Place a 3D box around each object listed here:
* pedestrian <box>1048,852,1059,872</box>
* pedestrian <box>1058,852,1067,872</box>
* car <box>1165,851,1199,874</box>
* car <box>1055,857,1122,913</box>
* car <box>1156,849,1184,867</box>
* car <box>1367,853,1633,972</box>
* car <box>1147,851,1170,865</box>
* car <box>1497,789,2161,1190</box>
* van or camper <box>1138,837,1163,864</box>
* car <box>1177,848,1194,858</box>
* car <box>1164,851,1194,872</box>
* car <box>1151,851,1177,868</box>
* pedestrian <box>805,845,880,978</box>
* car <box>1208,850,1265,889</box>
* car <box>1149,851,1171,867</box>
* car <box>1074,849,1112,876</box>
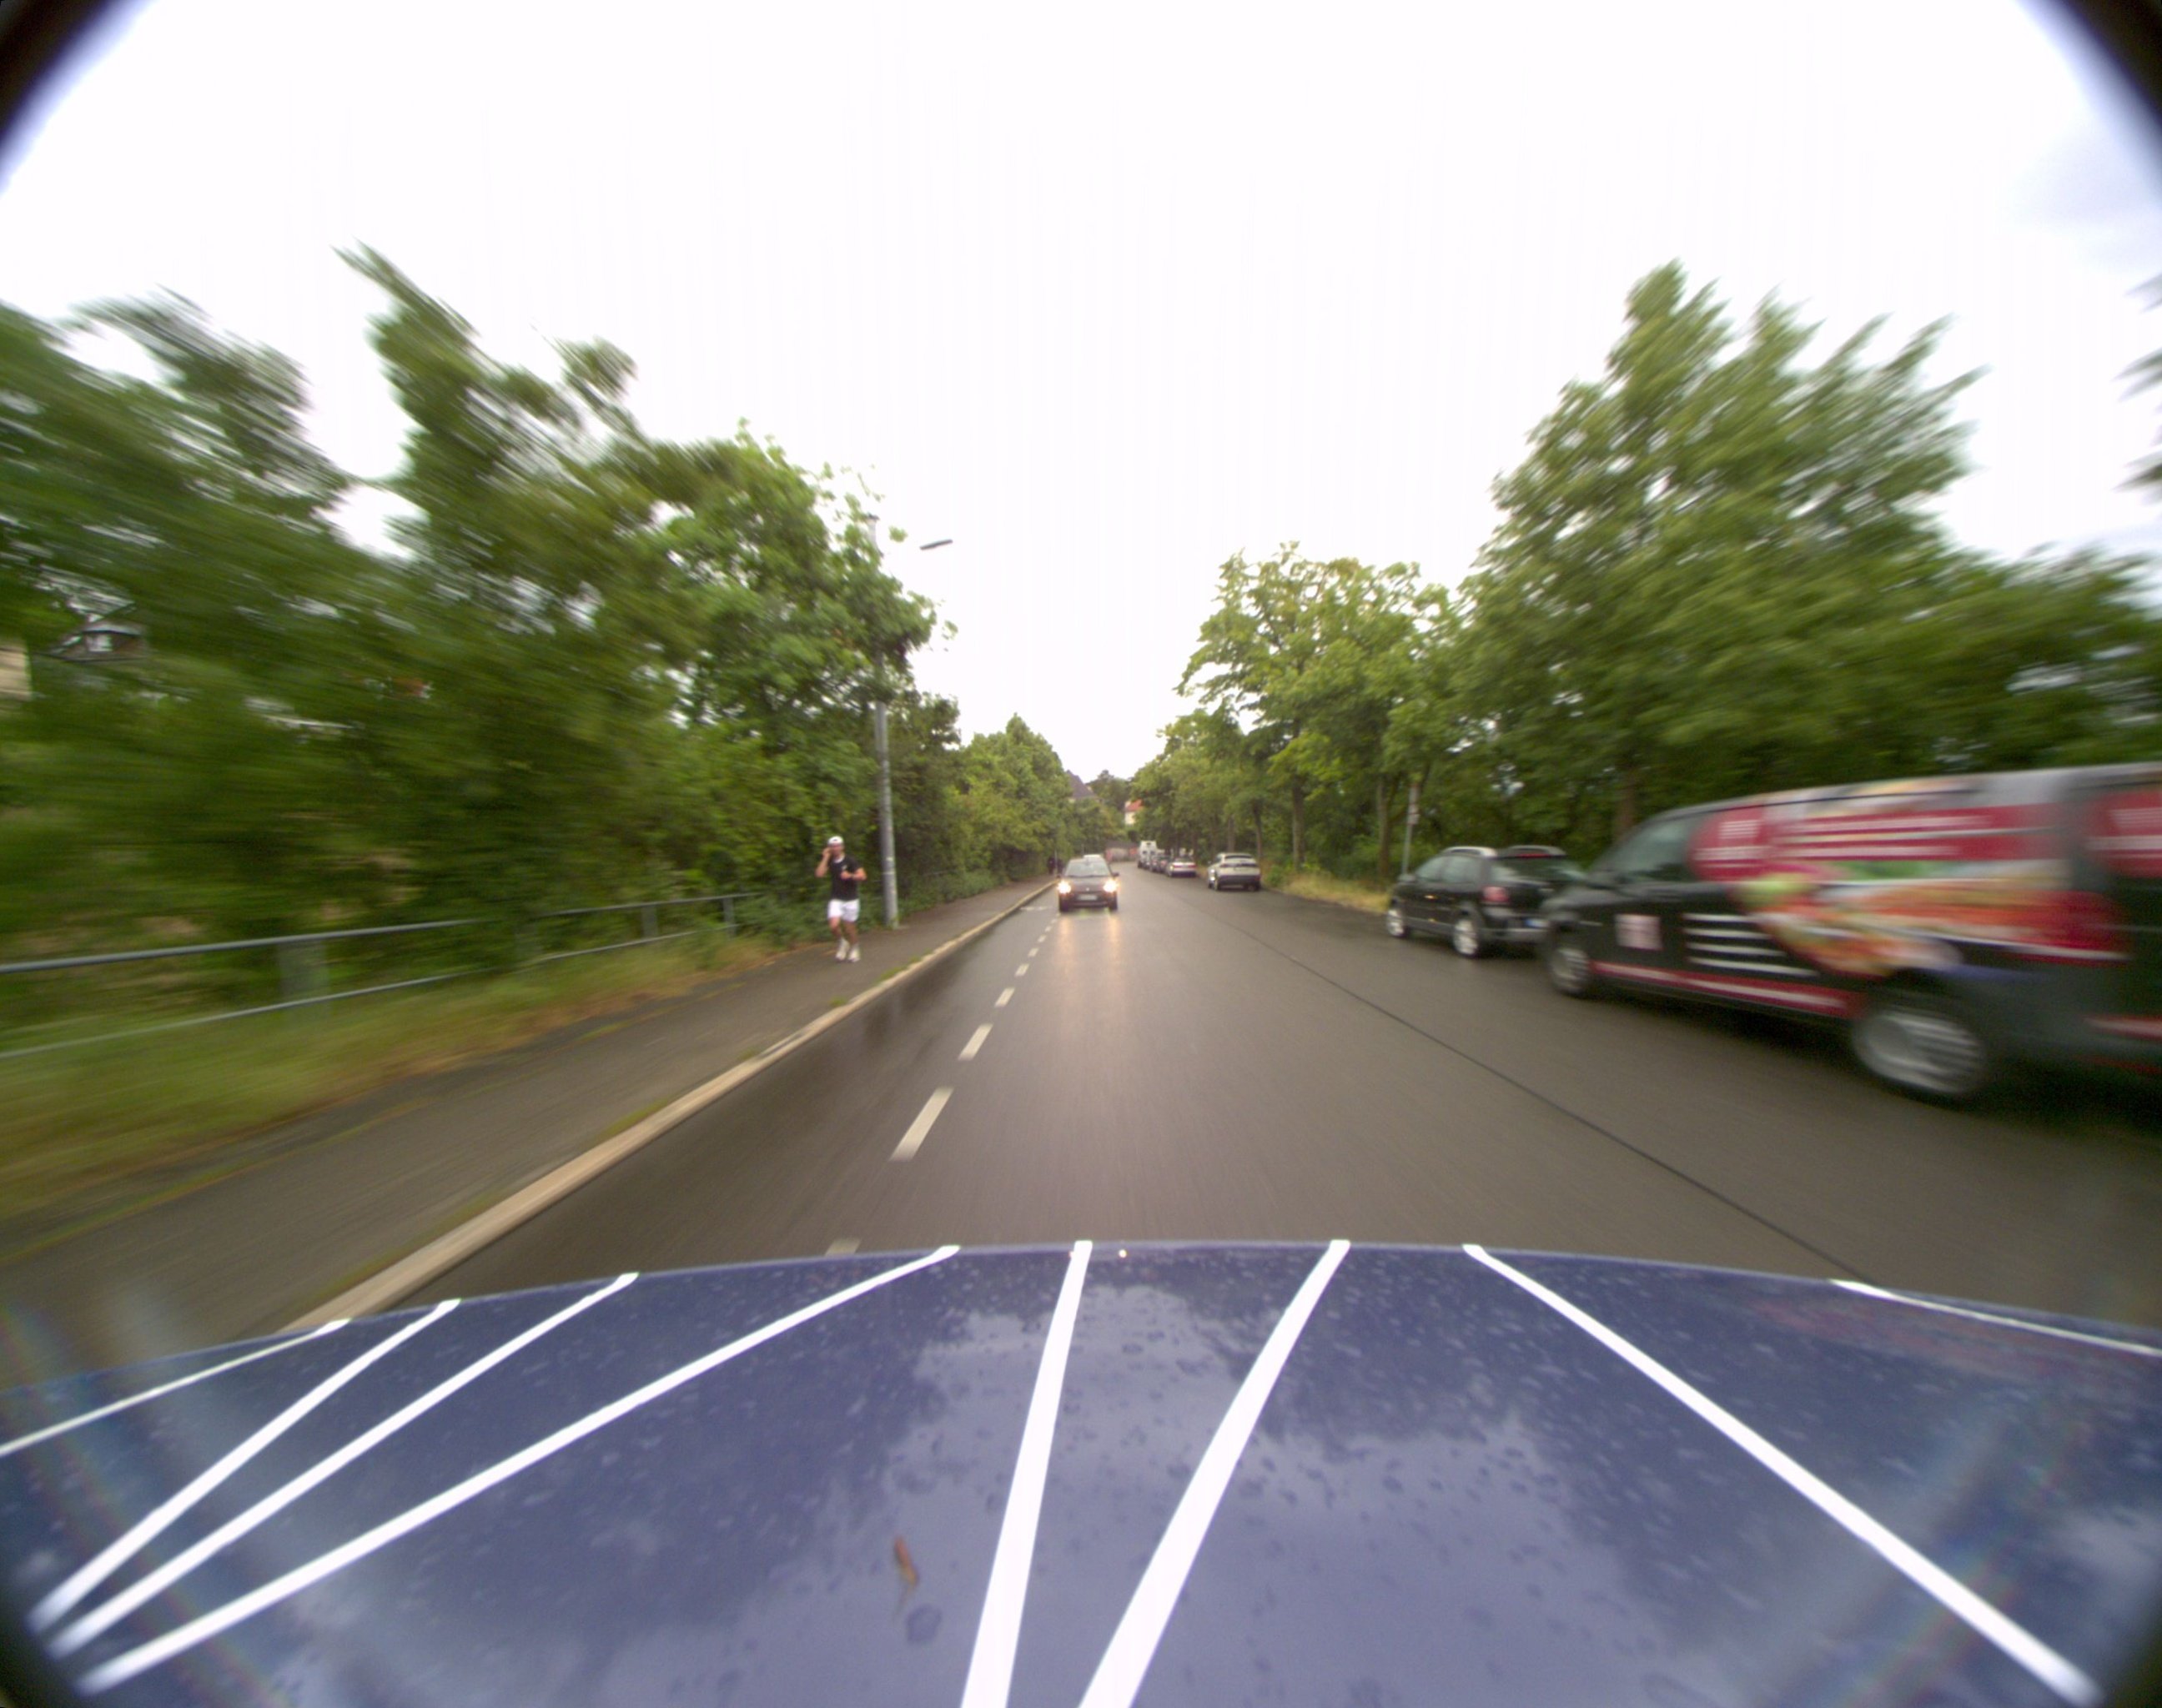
[{"bbox_3d":[-2.176,0.609,59.953,0.596,1.557,0.670,3,1,16],"label":"pedestrian"},{"bbox_3d":[-1.466,0.631,59.722,0.553,1.557,0.487,3,1,14],"label":"pedestrian"},{"bbox_3d":[6.667,0.551,50.663,1.759,1.394,4.419,-1,1,1],"label":"car"},{"bbox_3d":[0.206,0.843,22.765,1.804,1.418,4.382,-1,1,0],"label":"car"},{"bbox_3d":[7.101,0.285,60.979,1.998,1.397,4.714,0,1,4],"label":"car"},{"bbox_3d":[6.103,0.738,11.748,1.802,1.429,4.255,-1,1,0],"label":"car"},{"bbox_3d":[7.797,0.418,76.852,1.998,1.301,5.356,1,0,3],"label":"car"},{"bbox_3d":[5.749,0.560,6.067,2.088,1.809,5.380,-1,1,2],"label":"car"},{"bbox_3d":[7.939,-0.472,87.660,2.511,3.009,6.561,0,1,2],"label":"van or camper"},{"bbox_3d":[17.216,-0.173,125.145,1.684,1.501,4.212,3,3,24],"label":"car"},{"bbox_3d":[7.112,0.528,55.459,1.599,1.354,4.000,-1,1,-1],"label":"car"},{"bbox_3d":[7.158,0.429,65.997,1.998,1.397,4.714,0,1,4],"label":"car"},{"bbox_3d":[-3.412,0.790,10.955,0.718,1.824,1.021,0,1,3],"label":"pedestrian"},{"bbox_3d":[6.267,0.572,31.088,1.692,1.429,4.256,-1,1,3],"label":"car"},{"bbox_3d":[7.329,0.456,70.665,1.998,1.397,4.716,0,0,5],"label":"car"},{"bbox_3d":[0.781,0.463,45.295,2.030,1.454,4.001,-2,0,3],"label":"car"}]
